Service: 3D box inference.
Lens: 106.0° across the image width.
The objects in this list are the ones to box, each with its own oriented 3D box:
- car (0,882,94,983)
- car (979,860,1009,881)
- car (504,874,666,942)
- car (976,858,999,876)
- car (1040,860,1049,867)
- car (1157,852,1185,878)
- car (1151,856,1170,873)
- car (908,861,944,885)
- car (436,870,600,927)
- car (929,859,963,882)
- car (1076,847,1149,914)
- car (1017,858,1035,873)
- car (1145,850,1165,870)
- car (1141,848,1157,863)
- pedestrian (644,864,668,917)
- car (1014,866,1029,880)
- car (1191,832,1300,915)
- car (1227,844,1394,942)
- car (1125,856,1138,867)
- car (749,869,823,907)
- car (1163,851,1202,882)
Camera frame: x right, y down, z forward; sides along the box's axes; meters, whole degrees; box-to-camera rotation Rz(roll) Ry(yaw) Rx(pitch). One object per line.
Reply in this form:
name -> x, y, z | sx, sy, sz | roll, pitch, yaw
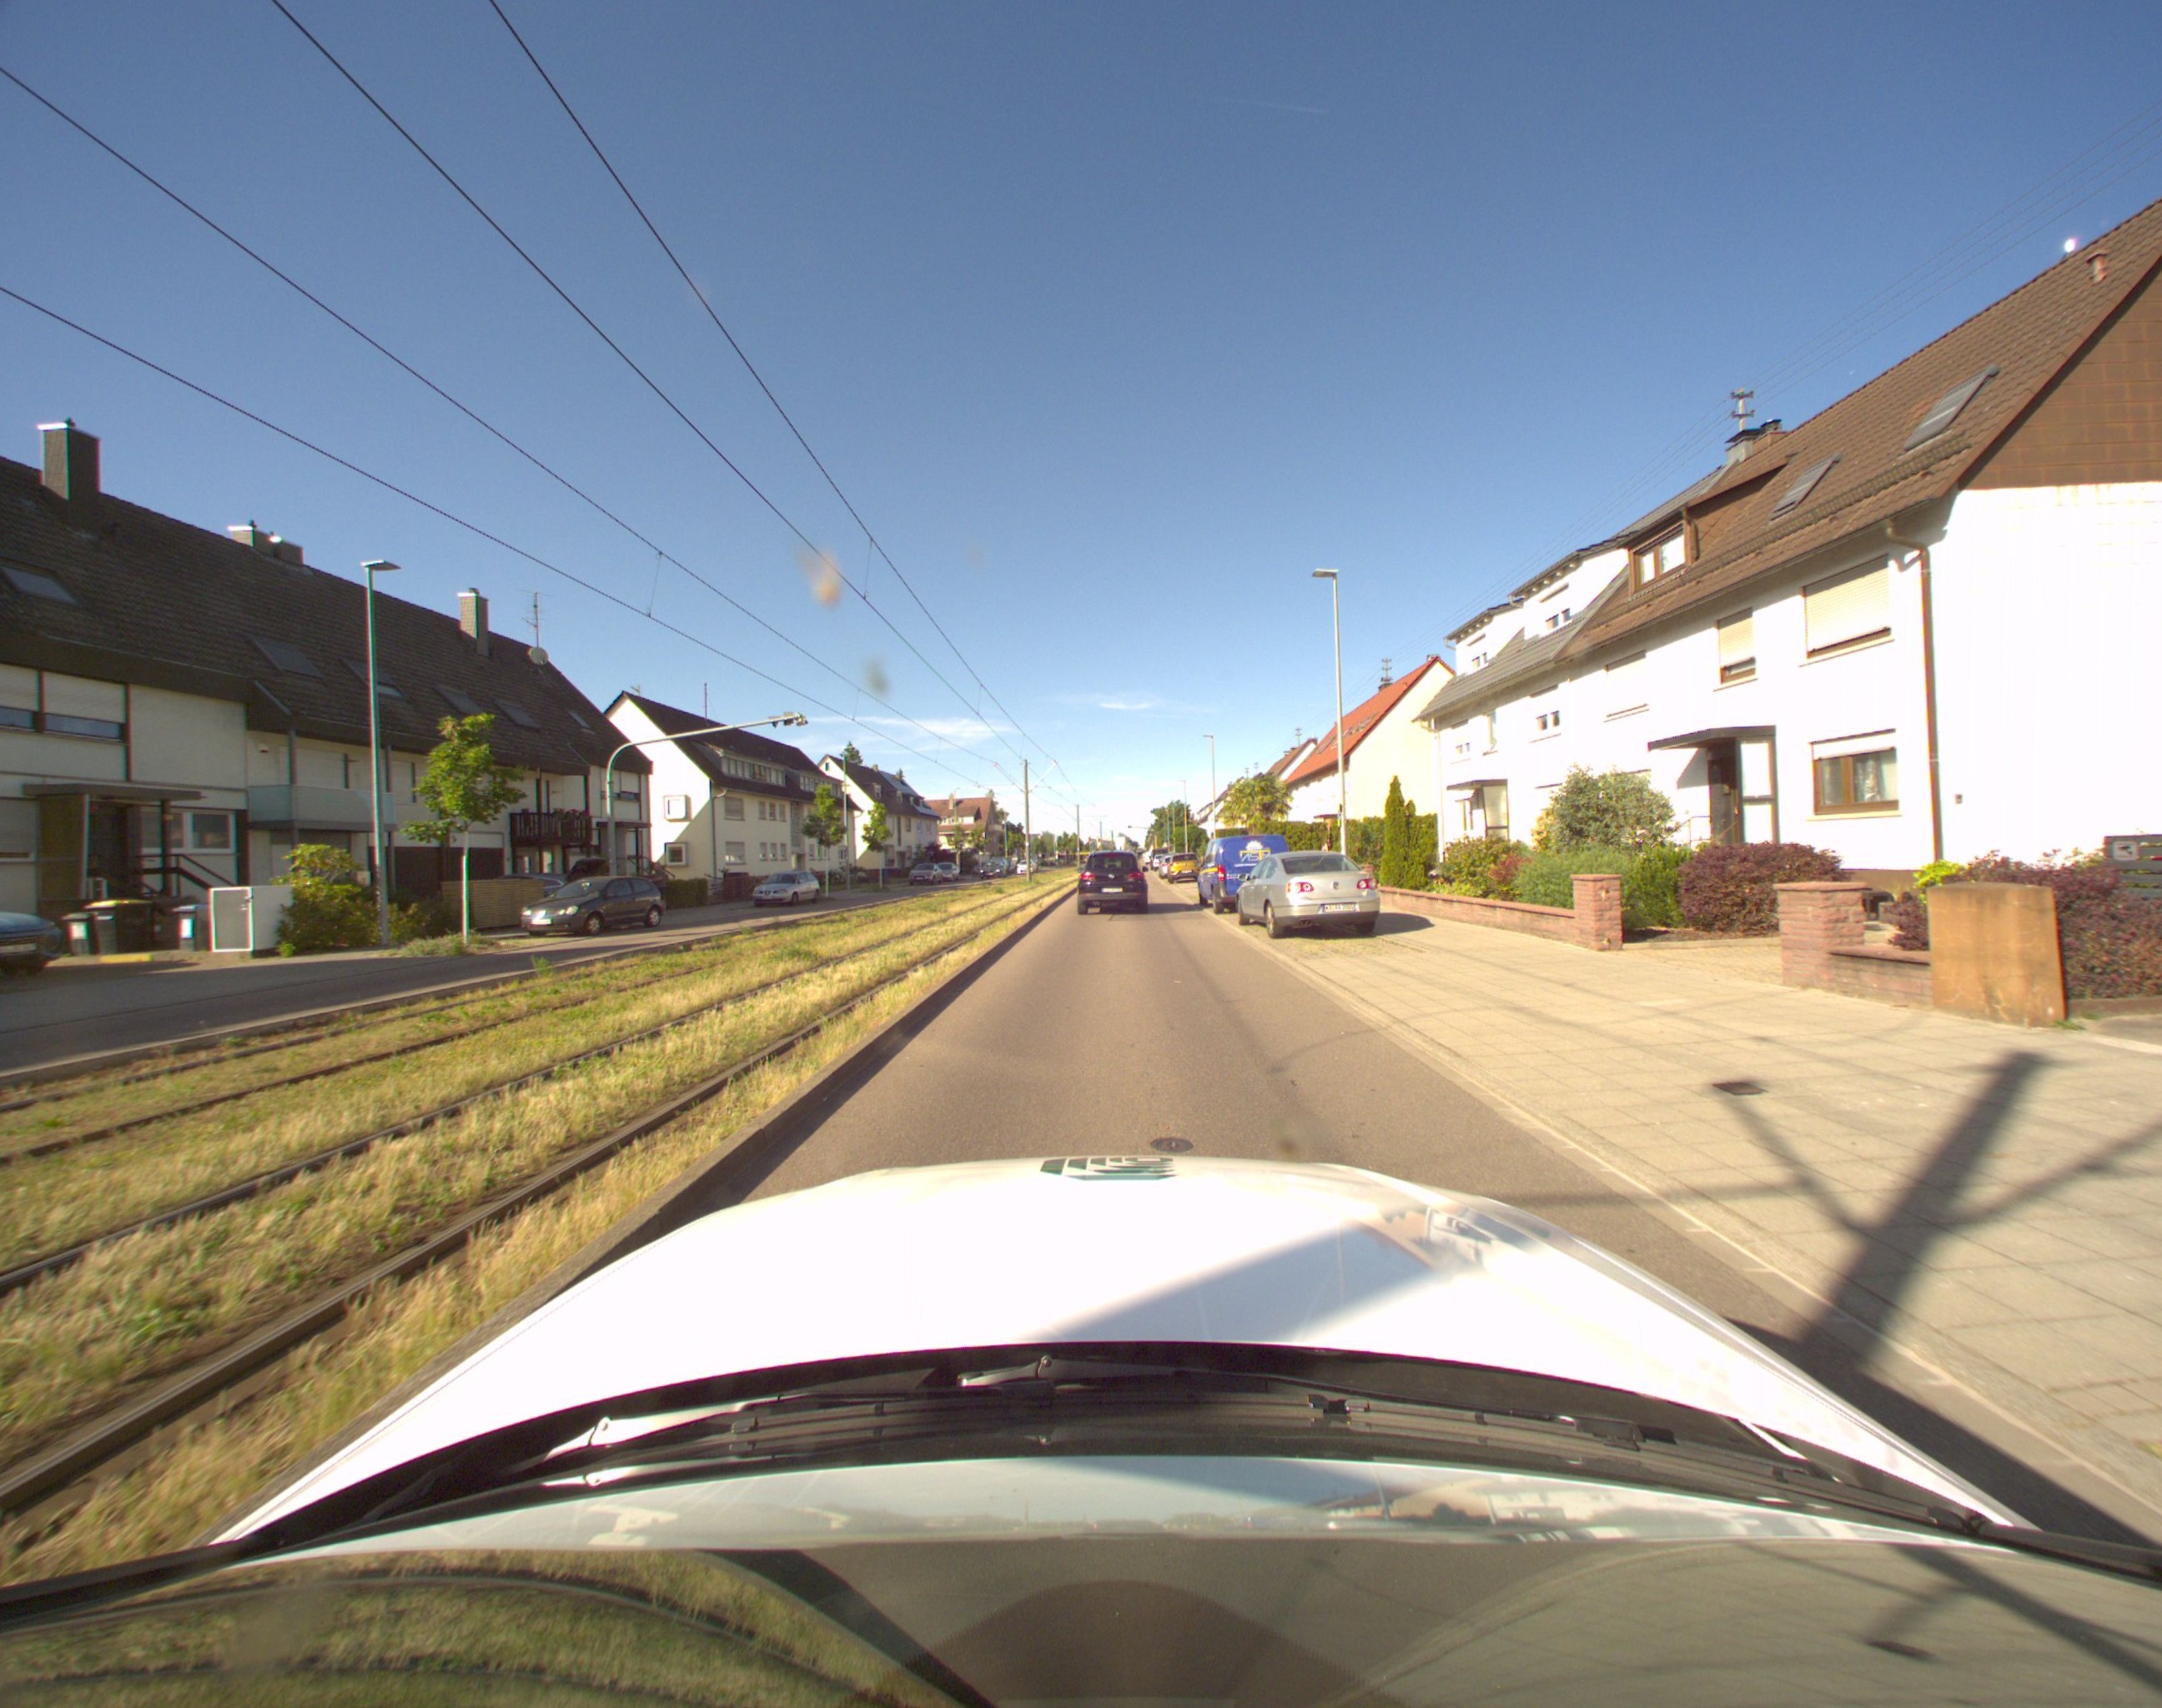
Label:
car -> -19.935, 1.393, 13.745 | 4.156, 1.617, 1.758 | -2, 0, -3
car -> -7.262, 1.426, 68.078 | 1.867, 1.655, 4.001 | -2, -2, 2
car -> -12.796, 1.340, 21.302 | 1.610, 1.453, 3.724 | -3, 0, 6
car -> -9.072, 1.294, 79.346 | 1.653, 1.581, 4.001 | -2, -2, 2
car -> -7.232, 1.872, 160.520 | 1.459, 1.454, 3.288 | -2, -1, 2
car -> 5.619, 0.671, 51.070 | 1.445, 1.552, 3.832 | -2, 0, 3
car -> 7.114, 0.914, 73.215 | 1.436, 1.477, 3.867 | -2, 0, 3
car -> -10.857, 1.298, 57.175 | 1.653, 1.496, 3.581 | -3, 0, 2
car -> -17.880, 1.376, 26.011 | 3.896, 1.568, 1.731 | -2, 0, -6
car -> -10.429, 1.242, 63.330 | 1.796, 1.632, 4.002 | -2, 0, 2
car -> 0.820, 0.687, 22.467 | 1.806, 1.671, 4.257 | 0, -1, 1
car -> -5.686, 1.160, 84.258 | 1.459, 1.454, 3.288 | -2, -1, 2
car -> 7.244, 0.546, 80.289 | 1.763, 1.844, 3.867 | -2, 0, 3
car -> 8.518, 0.191, 102.300 | 1.763, 1.821, 3.867 | -2, 0, 3
pedestrian -> -14.407, 1.227, 27.633 | 0.466, 1.746, 0.536 | -2, 0, 1
car -> -7.430, 2.411, 102.270 | 1.459, 1.677, 3.288 | -2, -1, 2
car -> 4.192, 0.459, 21.590 | 1.986, 1.862, 4.919 | -2, 0, 2
car -> 4.057, 0.627, 15.215 | 1.780, 1.441, 4.458 | -4, 0, 0
car -> 6.874, 0.976, 111.780 | 1.566, 1.391, 3.615 | -2, 0, 1
car -> -12.245, 1.404, 34.047 | 1.612, 1.409, 3.719 | -2, -2, 2
car -> 5.411, 0.642, 43.740 | 1.639, 1.534, 3.866 | -2, -1, 2
